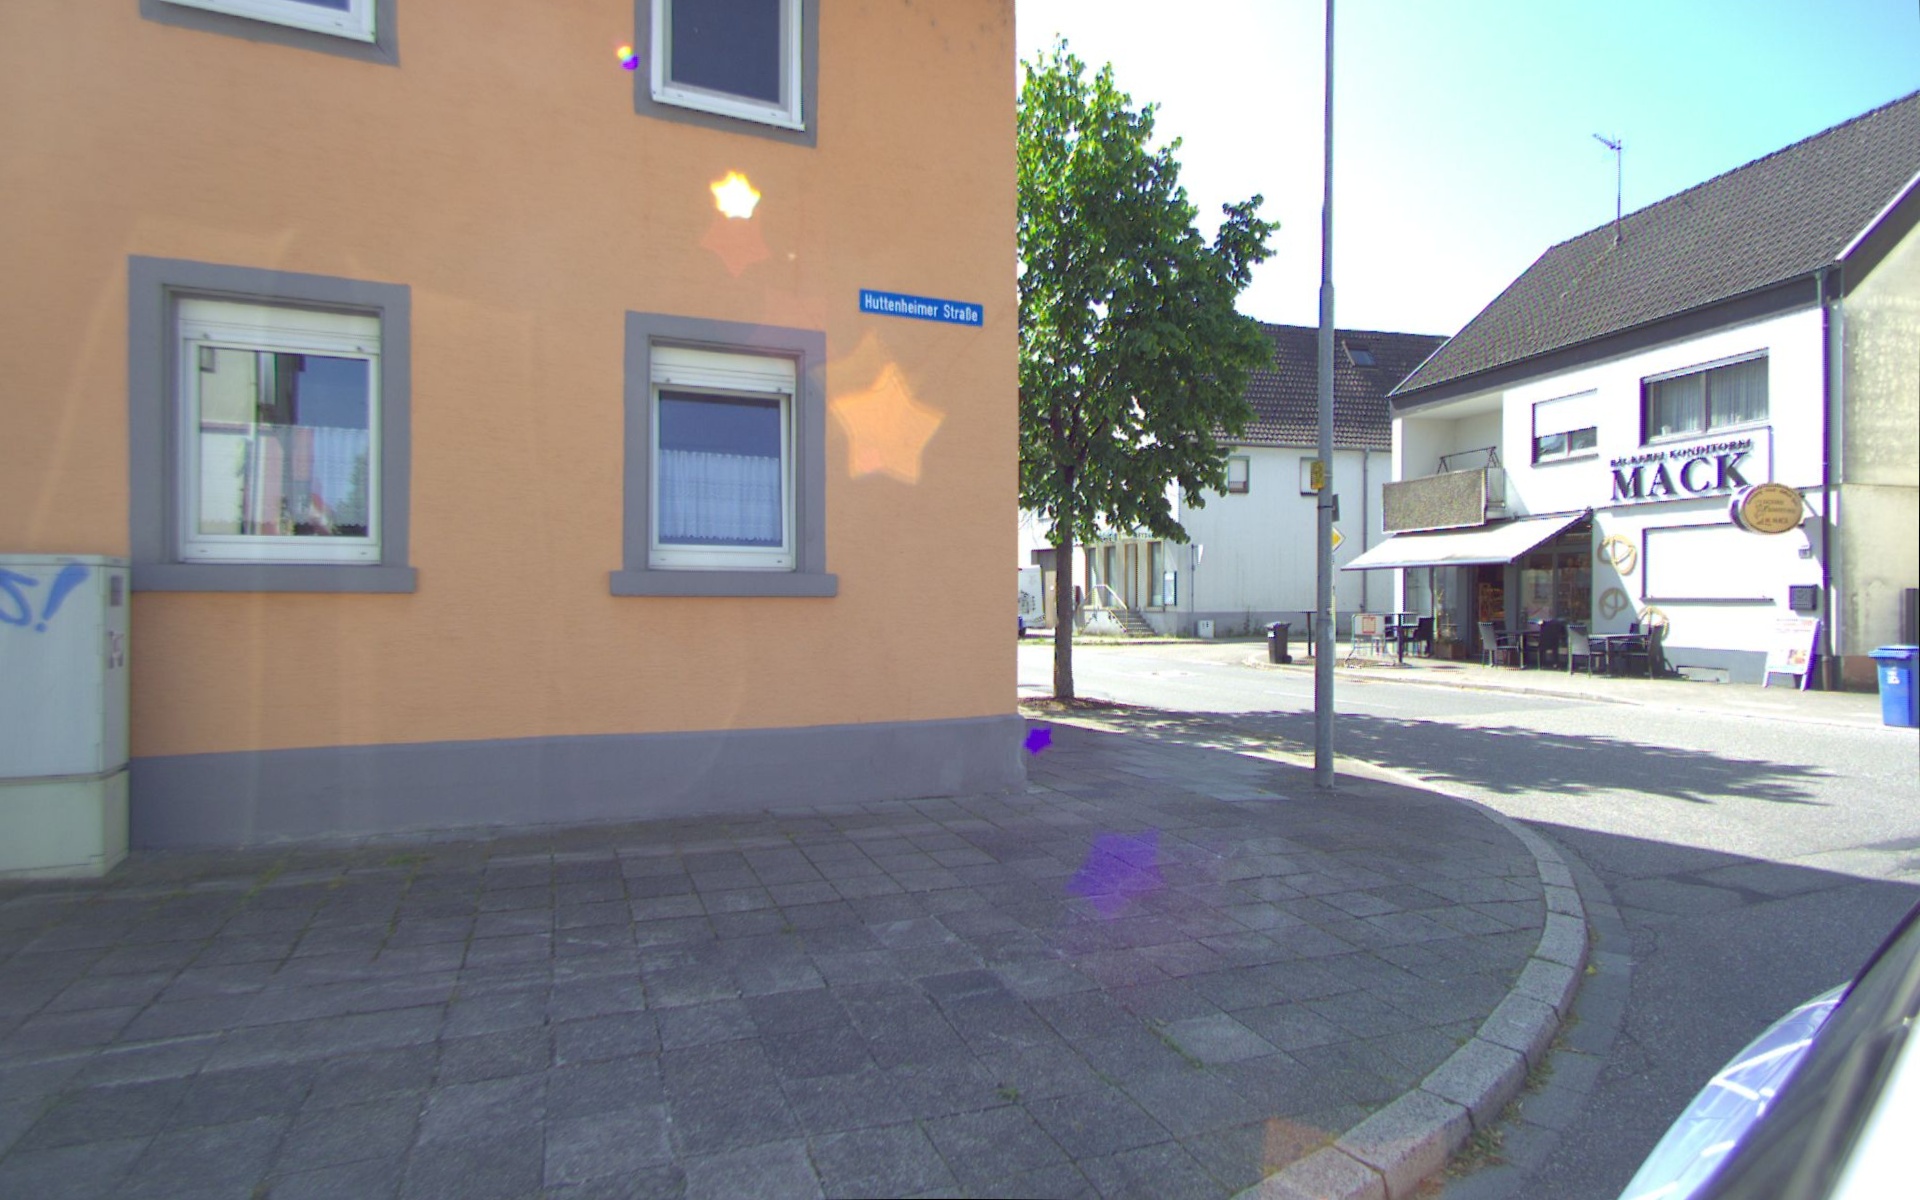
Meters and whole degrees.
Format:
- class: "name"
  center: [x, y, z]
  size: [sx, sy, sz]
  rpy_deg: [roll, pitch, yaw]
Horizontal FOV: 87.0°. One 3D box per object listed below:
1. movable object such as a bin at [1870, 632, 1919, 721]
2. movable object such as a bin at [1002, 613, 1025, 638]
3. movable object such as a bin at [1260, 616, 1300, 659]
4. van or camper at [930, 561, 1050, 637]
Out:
- class: "movable object such as a bin"
  center: [11.264, 0.888, 11.893]
  size: [0.631, 0.993, 0.615]
  rpy_deg: [0, 0, -20]
- class: "movable object such as a bin"
  center: [1.949, 0.908, 36.731]
  size: [0.631, 0.883, 0.615]
  rpy_deg: [-1, 0, -23]
- class: "movable object such as a bin"
  center: [7.297, 0.848, 23.086]
  size: [0.631, 0.936, 0.615]
  rpy_deg: [0, 0, -23]
- class: "van or camper"
  center: [1.105, -0.055, 42.710]
  size: [2.402, 2.941, 7.081]
  rpy_deg: [-1, 0, -22]
